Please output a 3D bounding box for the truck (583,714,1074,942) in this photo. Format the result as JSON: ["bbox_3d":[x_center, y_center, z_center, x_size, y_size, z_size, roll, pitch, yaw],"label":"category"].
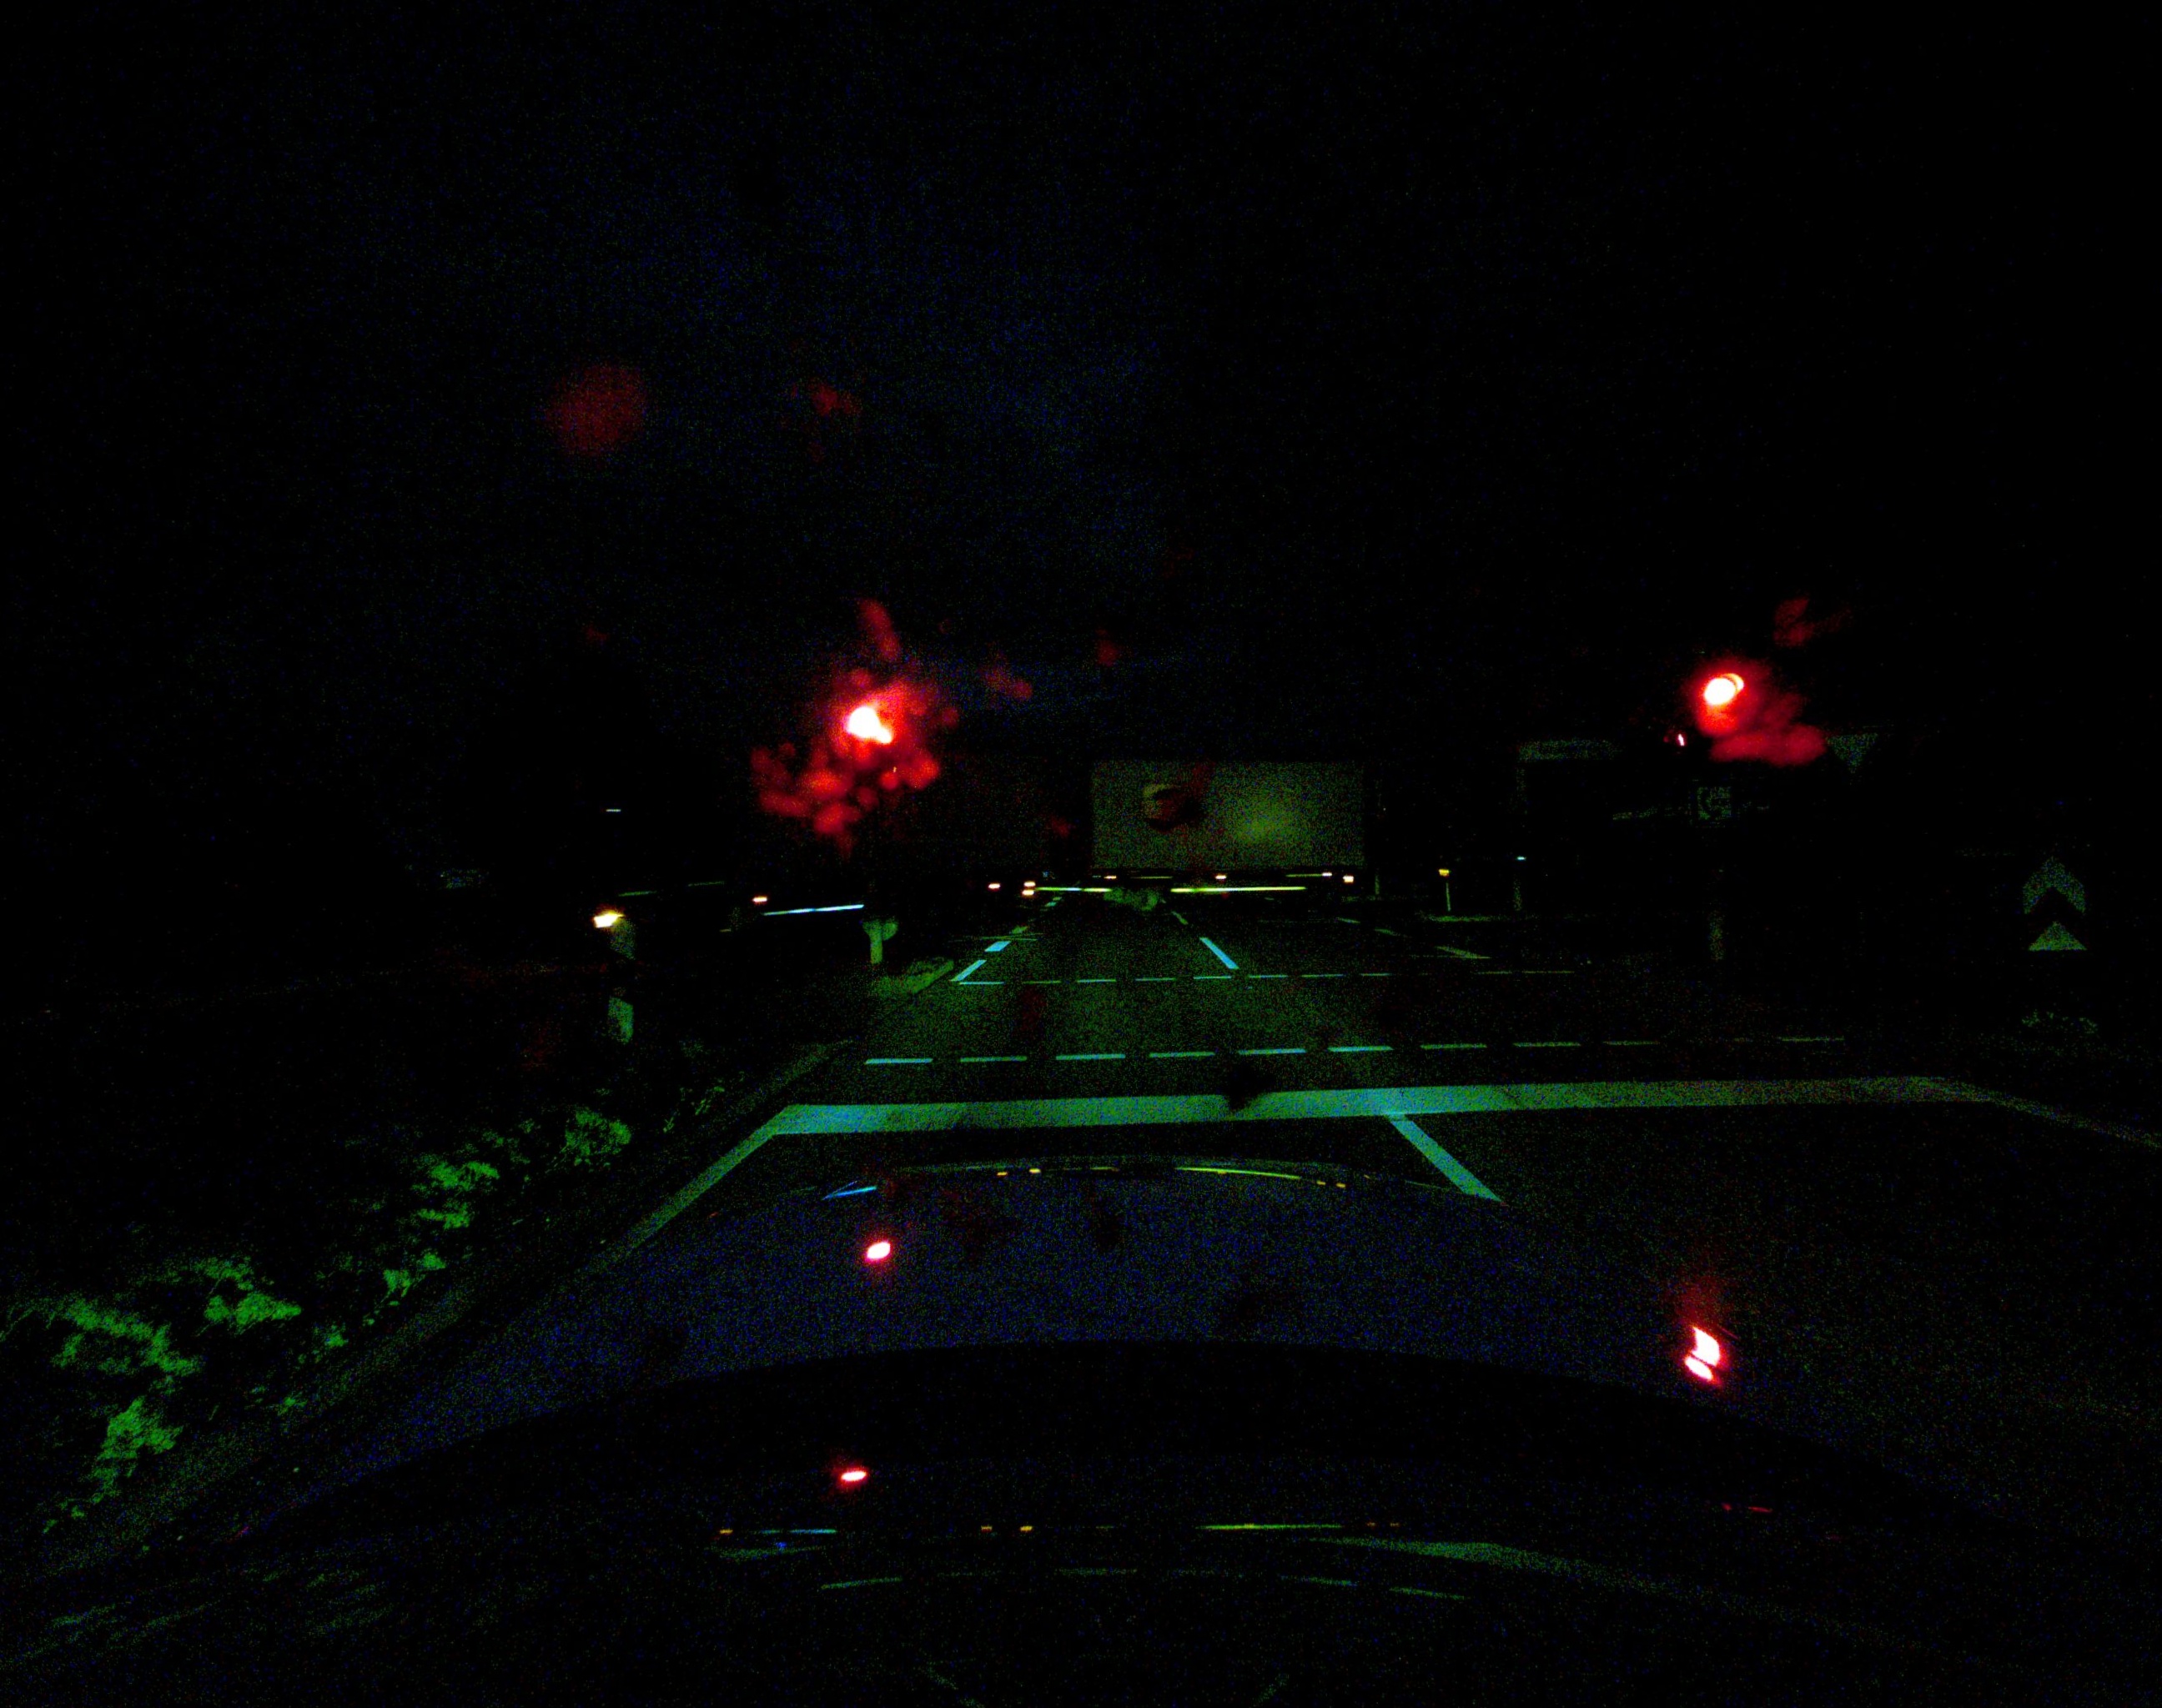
[{"bbox_3d":[-5.287,-0.549,18.706,10.386,4.117,2.706,-1,-1,-34],"label":"truck"}]

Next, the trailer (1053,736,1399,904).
[{"bbox_3d":[3.836,-0.935,22.368,8.841,3.943,2.578,-3,0,-8],"label":"trailer"}]

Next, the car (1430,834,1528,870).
[{"bbox_3d":[21.459,-0.106,43.944,4.419,1.664,2.013,-3,0,35],"label":"car"}]
